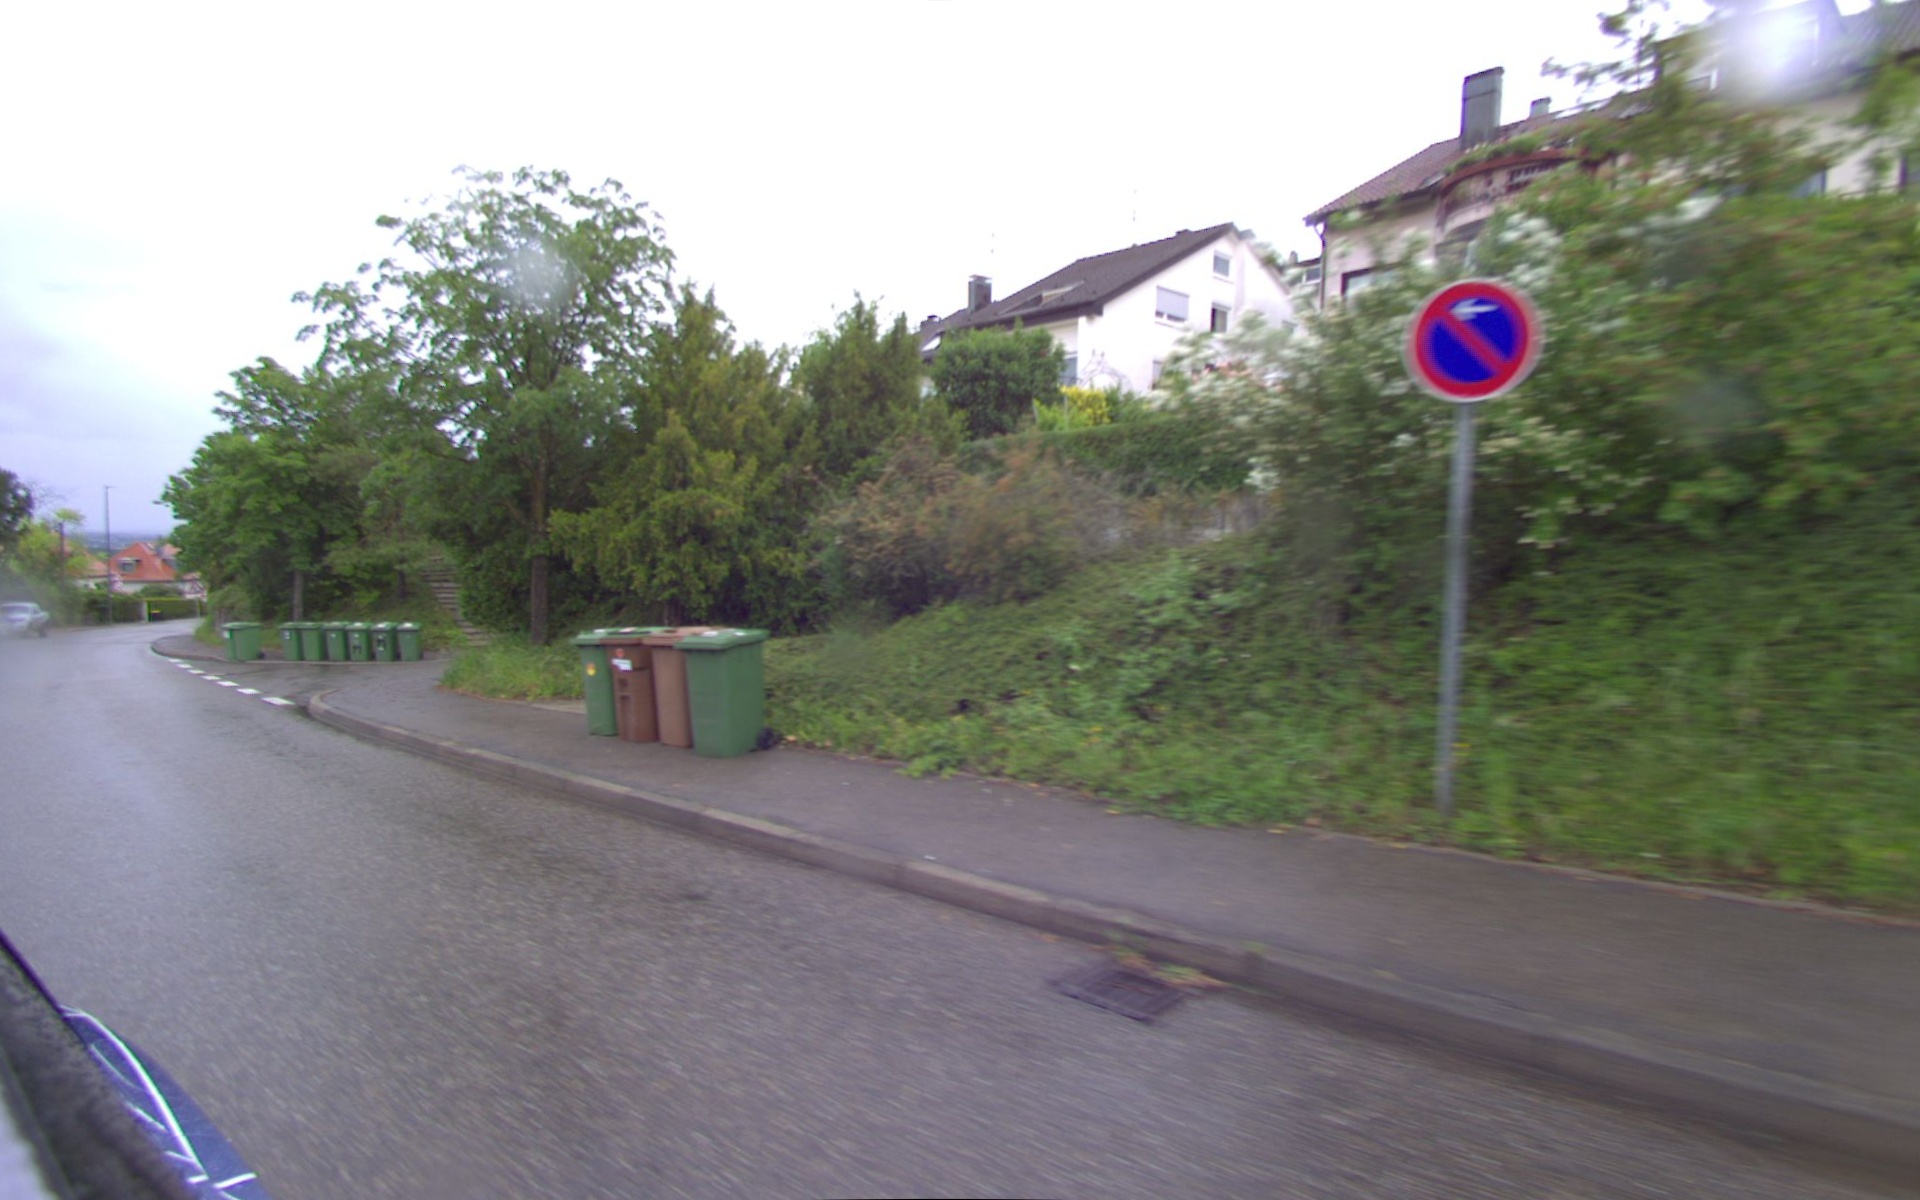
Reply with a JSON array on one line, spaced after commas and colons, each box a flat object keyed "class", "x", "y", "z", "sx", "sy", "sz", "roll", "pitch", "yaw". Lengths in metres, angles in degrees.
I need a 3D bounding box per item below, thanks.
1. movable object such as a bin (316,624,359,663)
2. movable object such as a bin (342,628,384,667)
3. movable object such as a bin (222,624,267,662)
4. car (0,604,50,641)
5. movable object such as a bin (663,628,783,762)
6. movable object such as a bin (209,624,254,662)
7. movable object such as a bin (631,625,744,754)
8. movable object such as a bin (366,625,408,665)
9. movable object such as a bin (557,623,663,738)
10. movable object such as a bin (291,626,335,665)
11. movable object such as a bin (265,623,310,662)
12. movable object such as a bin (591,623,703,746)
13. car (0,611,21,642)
[{"class": "movable object such as a bin", "x": -17.777, "y": 1.249, "z": 28.917, "sx": 0.710, "sy": 1.035, "sz": 0.780, "roll": -2, "pitch": 2, "yaw": 2}, {"class": "movable object such as a bin", "x": -17.036, "y": 1.351, "z": 28.889, "sx": 0.710, "sy": 1.035, "sz": 0.780, "roll": -2, "pitch": 2, "yaw": 2}, {"class": "movable object such as a bin", "x": -20.652, "y": 1.241, "z": 29.228, "sx": 0.715, "sy": 1.035, "sz": 0.774, "roll": -1, "pitch": 2, "yaw": 24}, {"class": "car", "x": -48.924, "y": 1.141, "z": 52.405, "sx": 1.839, "sy": 1.832, "sz": 4.876, "roll": 0, "pitch": -1, "yaw": -32}, {"class": "movable object such as a bin", "x": -2.053, "y": 0.786, "z": 8.777, "sx": 0.690, "sy": 1.076, "sz": 0.761, "roll": -1, "pitch": -1, "yaw": 39}, {"class": "movable object such as a bin", "x": -21.300, "y": 1.255, "z": 29.584, "sx": 0.715, "sy": 1.035, "sz": 0.774, "roll": -1, "pitch": 2, "yaw": 24}, {"class": "movable object such as a bin", "x": -2.504, "y": 0.791, "z": 9.317, "sx": 0.671, "sy": 1.105, "sz": 0.761, "roll": -1, "pitch": -1, "yaw": 39}, {"class": "movable object such as a bin", "x": -16.317, "y": 1.278, "z": 28.848, "sx": 0.710, "sy": 1.035, "sz": 0.780, "roll": -2, "pitch": 2, "yaw": 2}, {"class": "movable object such as a bin", "x": -3.578, "y": 0.794, "z": 10.344, "sx": 0.737, "sy": 1.105, "sz": 0.761, "roll": -1, "pitch": -1, "yaw": 39}, {"class": "movable object such as a bin", "x": -18.501, "y": 1.281, "z": 28.949, "sx": 0.710, "sy": 1.035, "sz": 0.780, "roll": -2, "pitch": 2, "yaw": 2}, {"class": "movable object such as a bin", "x": -19.239, "y": 1.215, "z": 28.972, "sx": 0.710, "sy": 1.035, "sz": 0.780, "roll": -2, "pitch": 2, "yaw": 2}, {"class": "movable object such as a bin", "x": -3.027, "y": 0.786, "z": 9.787, "sx": 0.737, "sy": 1.105, "sz": 0.761, "roll": -1, "pitch": -1, "yaw": 39}, {"class": "car", "x": -45.806, "y": 1.241, "z": 47.612, "sx": 1.725, "sy": 1.434, "sz": 4.011, "roll": 0, "pitch": -1, "yaw": -33}]
